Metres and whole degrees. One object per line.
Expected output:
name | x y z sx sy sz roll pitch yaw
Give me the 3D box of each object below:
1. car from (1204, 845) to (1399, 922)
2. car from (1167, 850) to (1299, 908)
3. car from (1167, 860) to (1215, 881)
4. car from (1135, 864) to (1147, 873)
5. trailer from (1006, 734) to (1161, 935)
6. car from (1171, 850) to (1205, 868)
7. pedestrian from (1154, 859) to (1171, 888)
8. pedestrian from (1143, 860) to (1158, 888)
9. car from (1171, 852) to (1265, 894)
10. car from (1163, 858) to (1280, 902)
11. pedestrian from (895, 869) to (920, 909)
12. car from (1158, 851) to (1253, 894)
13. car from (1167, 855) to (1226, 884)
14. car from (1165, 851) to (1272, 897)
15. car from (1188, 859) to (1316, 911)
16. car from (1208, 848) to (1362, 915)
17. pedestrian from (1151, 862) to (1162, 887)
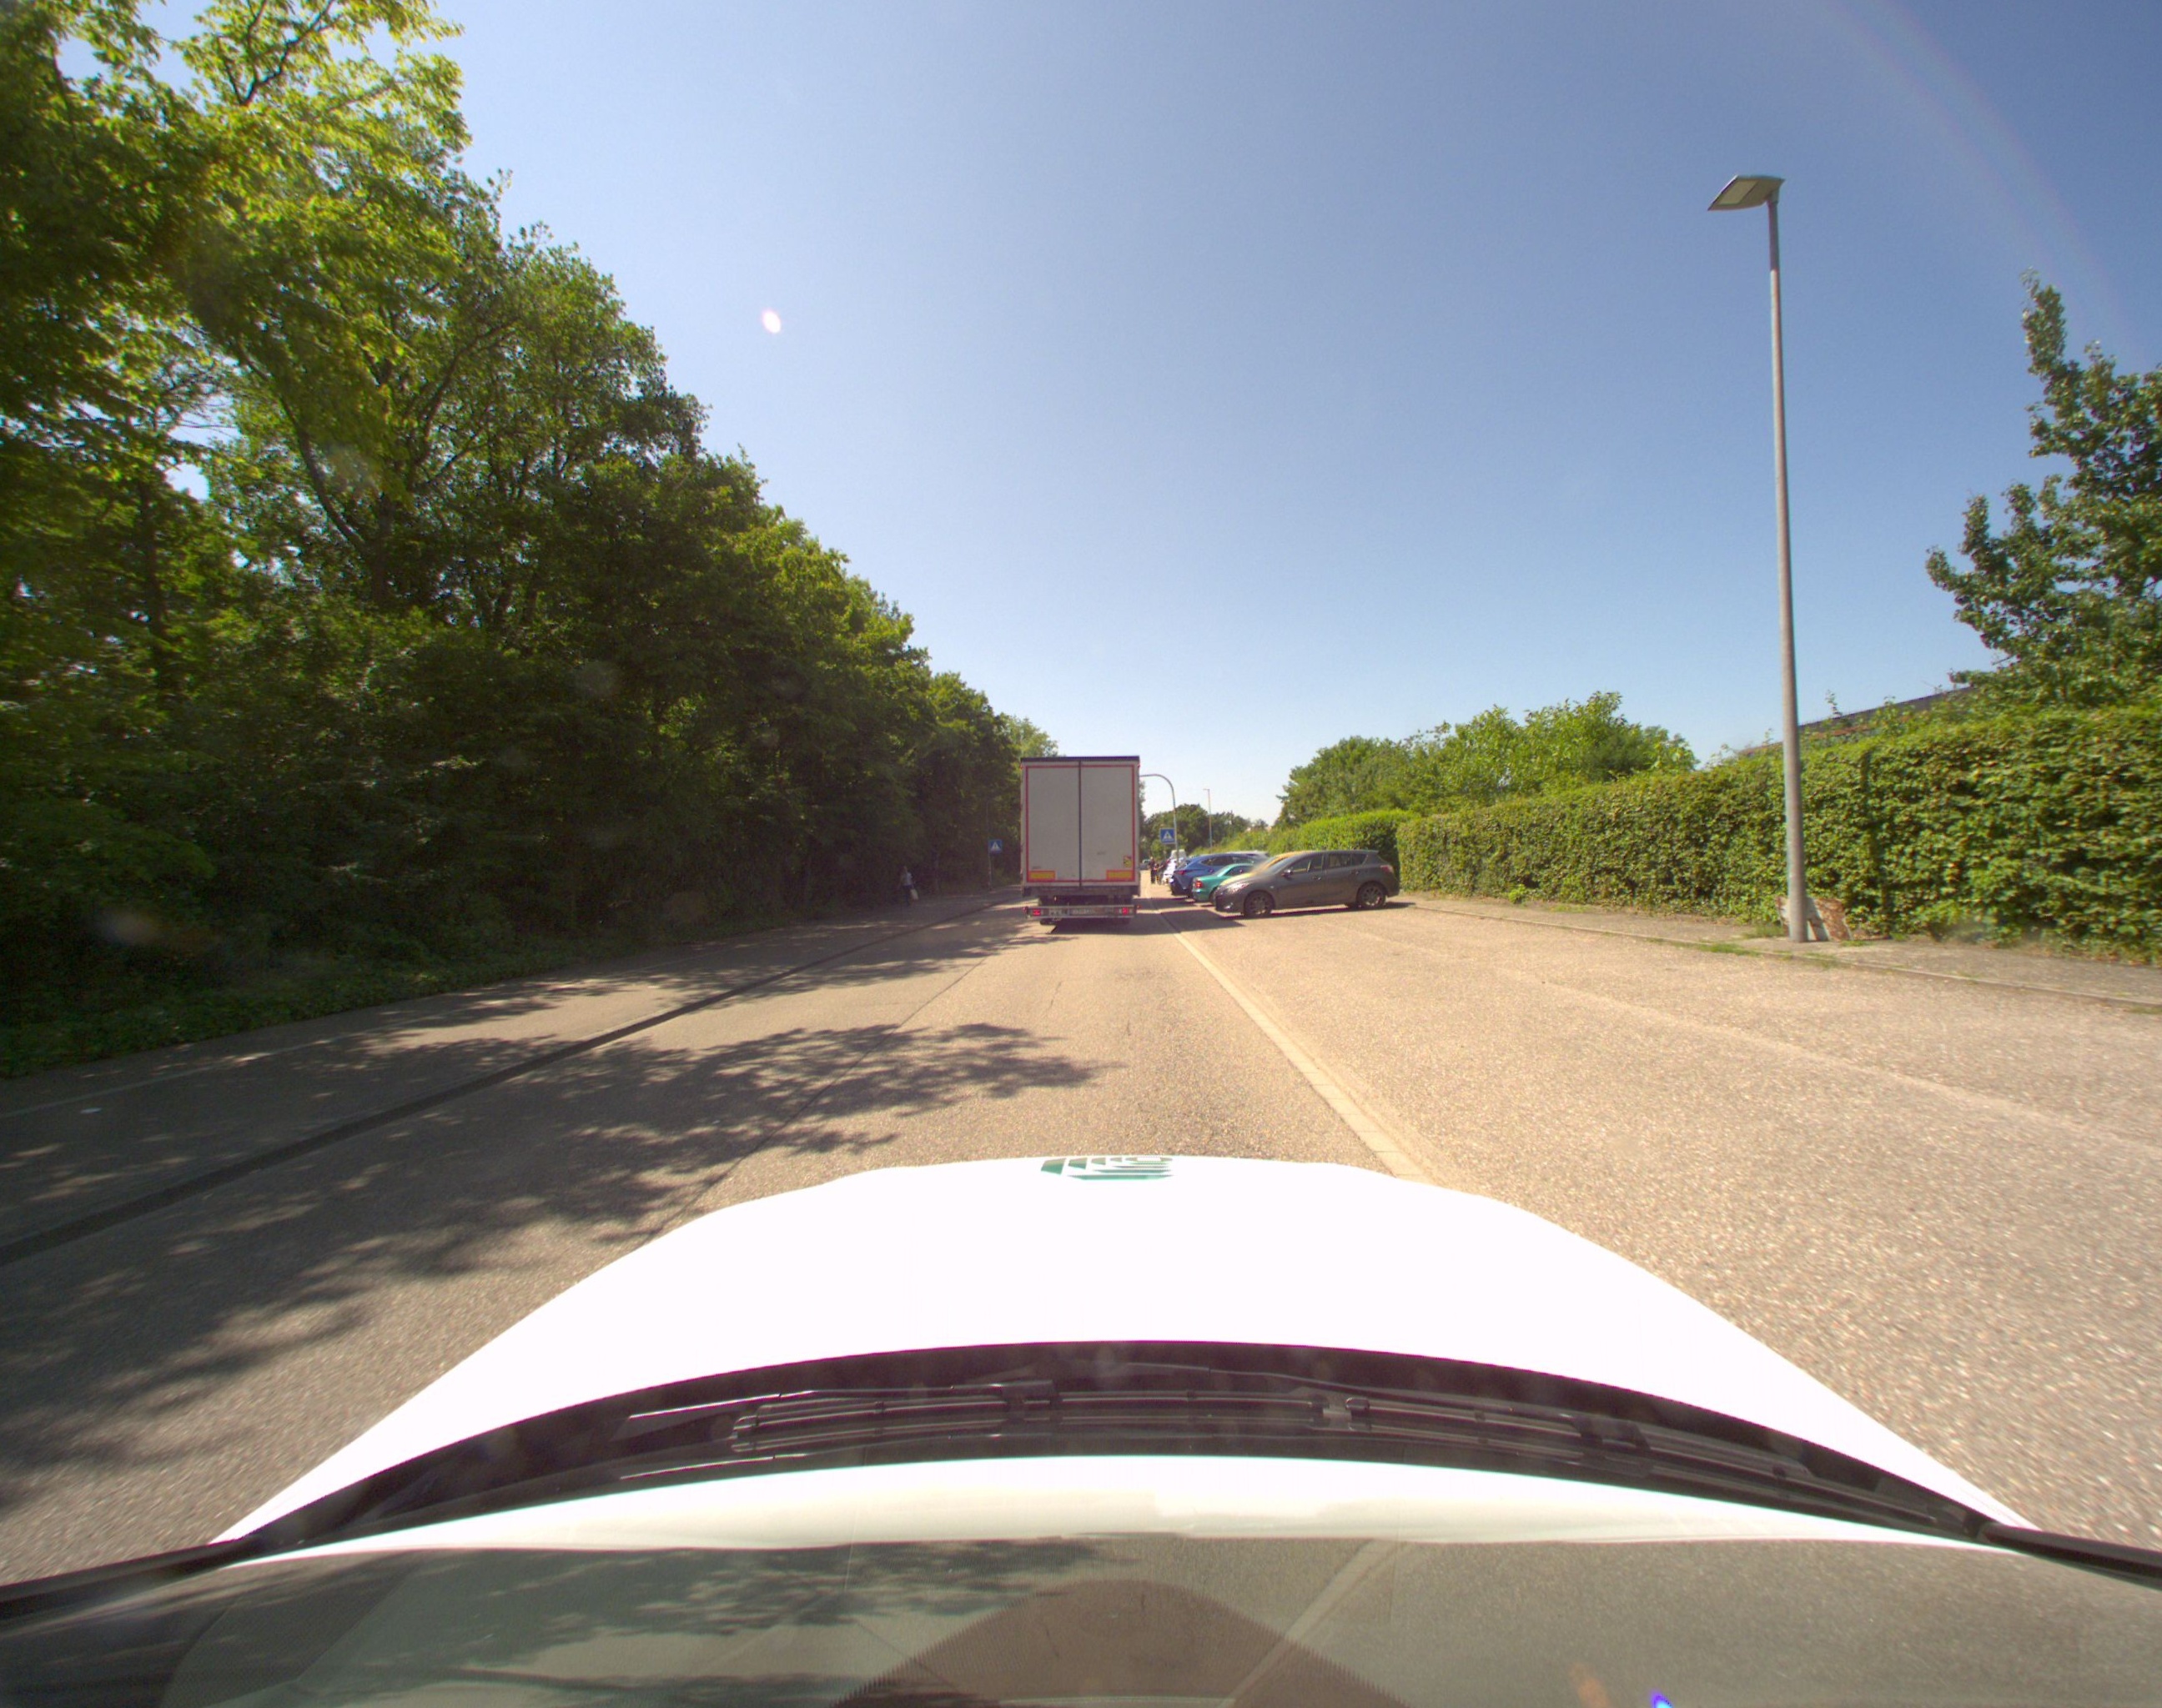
car | 5.224 0.698 19.709 4.149 1.495 1.883 -4 -1 1
car | 5.282 0.859 28.662 4.223 1.634 1.823 -5 -1 1
car | 9.860 1.488 72.913 3.944 1.619 1.813 -4 -1 -1
car | 11.048 2.667 149.197 1.770 1.486 4.012 -2 -1 10
trailer | 0.277 -0.322 22.817 3.101 4.103 11.541 -2 -1 2
car | 13.065 0.617 99.402 3.937 1.798 1.816 -6 -3 5
pedestrian | 5.372 1.283 53.508 0.902 1.798 0.937 -6 -1 8
pedestrian | 4.841 1.361 56.389 0.817 1.834 0.794 -6 -1 8
car | 6.471 0.893 38.778 4.108 1.657 1.888 -4 -1 3
car | 5.423 0.997 31.702 4.123 1.439 1.812 -3 -1 -4
pedestrian | -7.166 1.434 33.718 0.825 1.622 0.783 -1 -1 0
car | 6.269 0.932 41.329 4.390 1.698 1.877 -5 -1 0
car | 8.517 1.139 60.290 3.950 1.668 1.811 -5 1 -5
car | 5.794 0.850 34.709 4.221 1.654 1.899 -3 -2 0
car | 5.365 0.961 25.895 3.719 1.268 1.629 -5 -1 3
car | 5.633 0.758 22.806 3.788 1.455 1.775 -5 -1 1
pedestrian | 5.169 1.400 55.679 0.586 1.615 0.746 -6 -1 8
